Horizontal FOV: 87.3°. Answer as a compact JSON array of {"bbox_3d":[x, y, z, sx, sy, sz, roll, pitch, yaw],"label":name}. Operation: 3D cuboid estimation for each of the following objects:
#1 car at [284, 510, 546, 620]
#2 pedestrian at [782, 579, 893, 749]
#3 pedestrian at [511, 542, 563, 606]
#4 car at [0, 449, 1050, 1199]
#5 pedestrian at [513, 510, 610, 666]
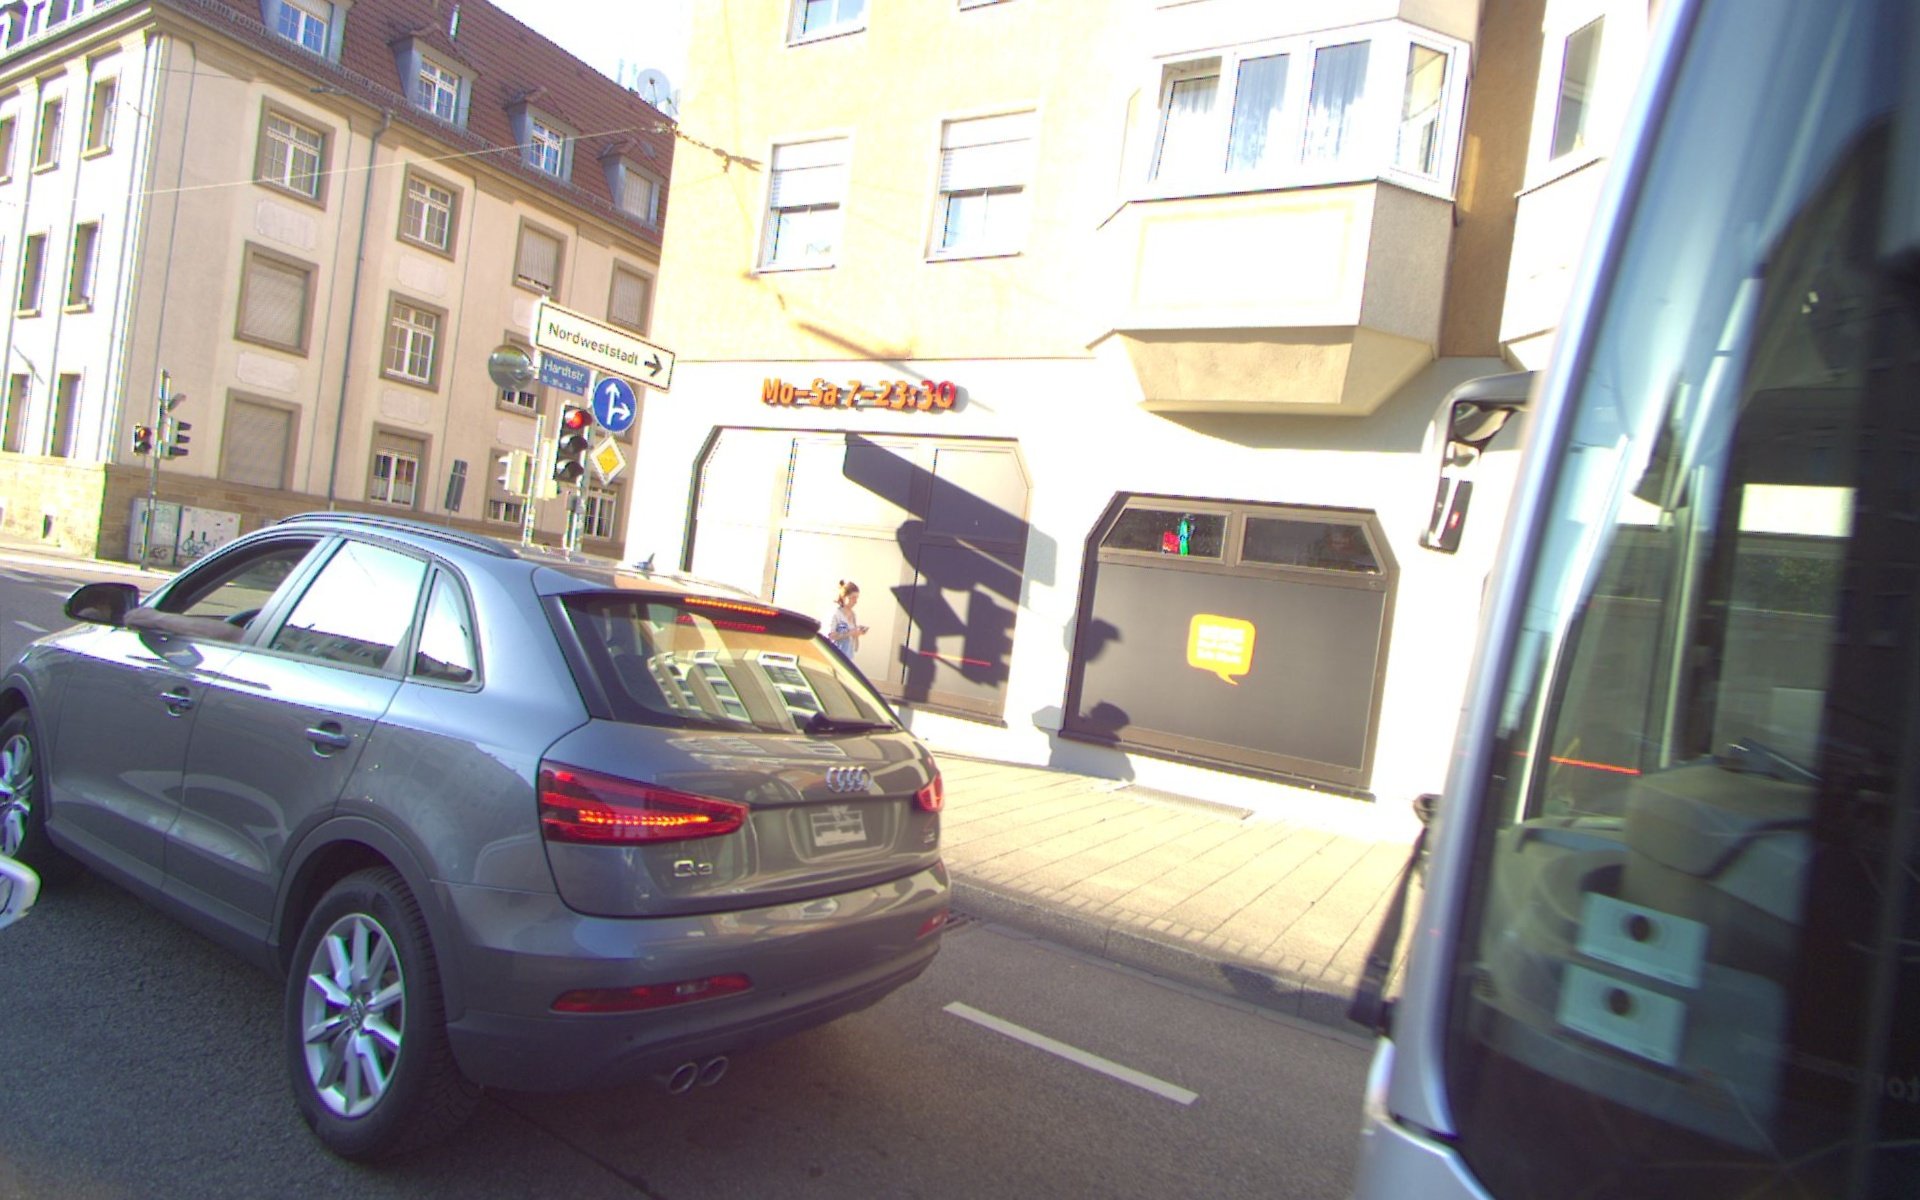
[{"bbox_3d":[-11.396,-0.663,21.380,1.966,1.660,4.428,7,-1,29],"label":"car"},{"bbox_3d":[-1.211,0.618,9.929,0.817,1.544,0.440,8,1,32],"label":"pedestrian"},{"bbox_3d":[-12.118,-0.736,28.829,0.657,1.703,1.038,8,1,31],"label":"pedestrian"},{"bbox_3d":[-1.935,0.460,3.749,4.018,1.595,1.772,7,0,32],"label":"car"},{"bbox_3d":[-5.127,-0.139,12.962,0.706,1.898,0.694,8,1,32],"label":"pedestrian"}]
